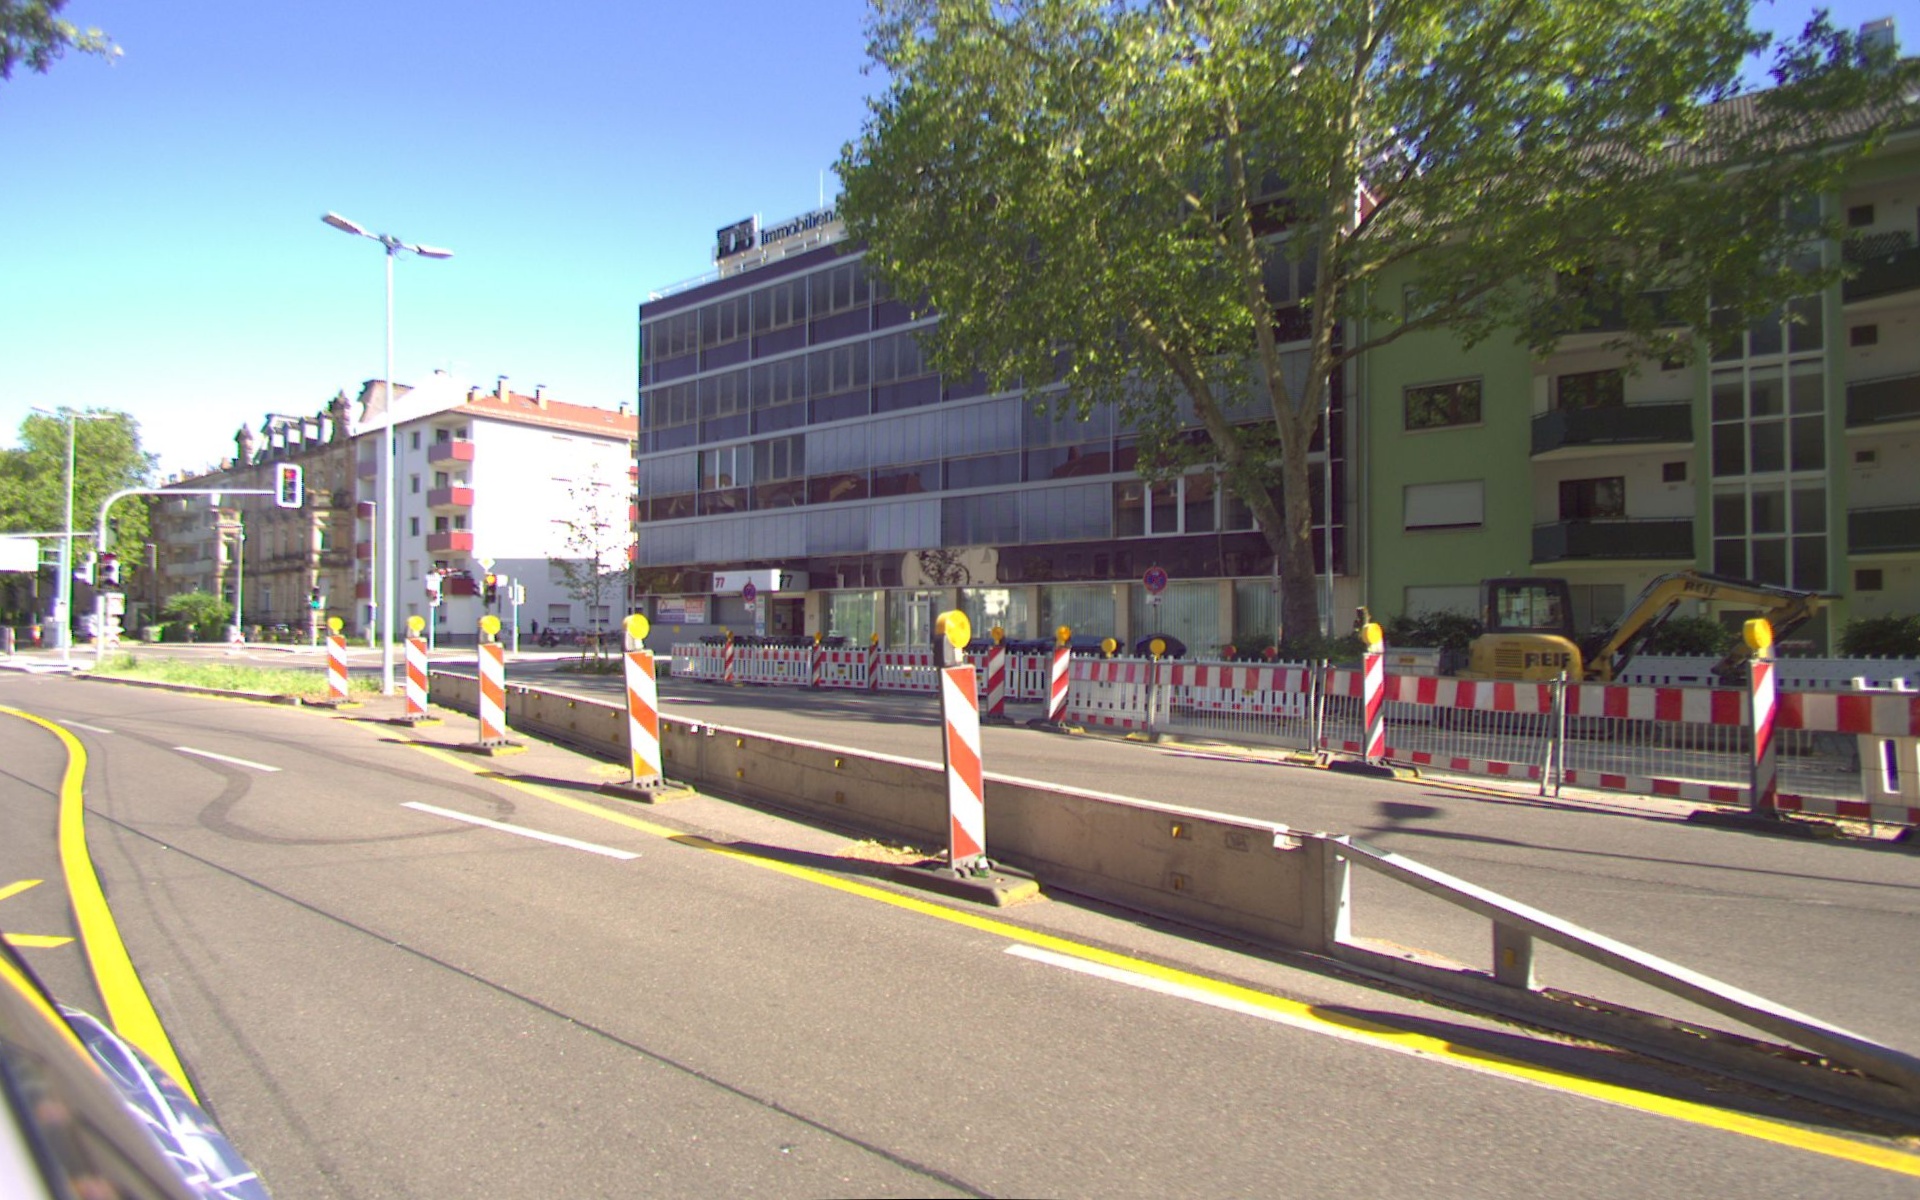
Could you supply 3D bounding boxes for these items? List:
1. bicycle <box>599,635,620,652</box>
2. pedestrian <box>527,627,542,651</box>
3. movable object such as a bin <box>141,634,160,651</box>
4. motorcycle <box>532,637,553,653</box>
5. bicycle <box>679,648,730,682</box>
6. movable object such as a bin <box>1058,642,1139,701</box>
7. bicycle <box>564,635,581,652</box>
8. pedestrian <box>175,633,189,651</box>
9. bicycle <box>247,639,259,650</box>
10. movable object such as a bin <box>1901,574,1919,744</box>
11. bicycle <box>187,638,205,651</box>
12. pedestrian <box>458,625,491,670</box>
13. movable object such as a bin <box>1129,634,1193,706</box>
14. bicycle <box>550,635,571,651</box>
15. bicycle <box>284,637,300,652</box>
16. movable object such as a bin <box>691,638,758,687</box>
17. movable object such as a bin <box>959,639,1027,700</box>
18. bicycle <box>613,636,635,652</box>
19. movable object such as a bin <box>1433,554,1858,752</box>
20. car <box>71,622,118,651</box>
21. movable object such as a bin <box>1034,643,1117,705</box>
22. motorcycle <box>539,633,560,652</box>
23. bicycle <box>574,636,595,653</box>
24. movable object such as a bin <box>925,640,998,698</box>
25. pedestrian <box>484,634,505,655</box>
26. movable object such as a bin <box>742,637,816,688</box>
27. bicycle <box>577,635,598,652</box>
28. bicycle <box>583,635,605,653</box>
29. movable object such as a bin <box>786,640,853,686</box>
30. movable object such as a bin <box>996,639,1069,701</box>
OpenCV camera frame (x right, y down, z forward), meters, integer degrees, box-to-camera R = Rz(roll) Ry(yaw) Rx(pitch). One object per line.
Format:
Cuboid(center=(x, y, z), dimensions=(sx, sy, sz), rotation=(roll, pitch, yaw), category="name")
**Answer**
Cuboid(center=(-21.731, 2.702, 62.750), dimensions=(1.736, 1.011, 0.503), rotation=(-2, -2, 43), category="bicycle")
Cuboid(center=(-26.721, 2.426, 63.570), dimensions=(0.694, 1.508, 0.593), rotation=(-2, -2, 41), category="pedestrian")
Cuboid(center=(-68.435, 3.620, 85.539), dimensions=(1.472, 1.371, 0.884), rotation=(-4, -5, 39), category="movable object such as a bin")
Cuboid(center=(-24.647, 2.639, 59.758), dimensions=(0.497, 0.943, 1.843), rotation=(1, -2, -45), category="motorcycle")
Cuboid(center=(-8.357, 2.104, 33.107), dimensions=(1.877, 1.045, 0.620), rotation=(-2, -2, 39), category="bicycle")
Cuboid(center=(3.151, 1.600, 23.012), dimensions=(1.538, 1.280, 0.970), rotation=(-2, -2, 38), category="movable object such as a bin")
Cuboid(center=(-23.239, 2.610, 60.720), dimensions=(0.500, 0.985, 1.889), rotation=(1, -2, -36), category="bicycle")
Cuboid(center=(-61.049, 3.306, 79.400), dimensions=(1.088, 1.388, 0.561), rotation=(-1, -3, 36), category="pedestrian")
Cuboid(center=(-50.734, 3.188, 72.644), dimensions=(1.412, 0.777, 0.296), rotation=(-2, -3, 39), category="bicycle")
Cuboid(center=(15.708, 0.781, 12.674), dimensions=(5.595, 2.296, 1.973), rotation=(-1, -3, 41), category="movable object such as a bin")
Cuboid(center=(-60.412, 3.527, 80.014), dimensions=(2.246, 1.013, 0.463), rotation=(-3, -1, 36), category="bicycle")
Cuboid(center=(-18.728, 1.832, 39.069), dimensions=(0.855, 1.724, 1.013), rotation=(2, -3, -45), category="pedestrian")
Cuboid(center=(4.275, 1.458, 21.498), dimensions=(1.250, 1.433, 1.629), rotation=(-1, -2, 12), category="movable object such as a bin")
Cuboid(center=(-24.932, 2.690, 63.138), dimensions=(1.736, 0.976, 0.568), rotation=(-2, -2, 43), category="bicycle")
Cuboid(center=(-44.938, 2.993, 68.059), dimensions=(1.937, 0.965, 0.301), rotation=(-2, -3, 39), category="bicycle")
Cuboid(center=(-7.120, 1.860, 30.568), dimensions=(1.854, 1.399, 1.103), rotation=(-2, -2, 40), category="movable object such as a bin")
Cuboid(center=(0.788, 1.610, 23.770), dimensions=(0.935, 1.348, 1.396), rotation=(-2, -2, 40), category="movable object such as a bin")
Cuboid(center=(-20.970, 2.726, 63.199), dimensions=(1.722, 0.955, 0.454), rotation=(-2, -2, 40), category="bicycle")
Cuboid(center=(10.792, 0.798, 16.410), dimensions=(5.342, 2.727, 2.128), rotation=(-1, -2, 35), category="movable object such as a bin")
Cuboid(center=(-79.474, 3.357, 92.918), dimensions=(5.280, 2.465, 2.222), rotation=(-3, -5, 39), category="car")
Cuboid(center=(2.535, 1.603, 22.215), dimensions=(1.538, 1.280, 0.970), rotation=(-2, -2, 38), category="movable object such as a bin")
Cuboid(center=(-24.902, 2.569, 61.336), dimensions=(0.604, 1.150, 1.785), rotation=(1, -2, -43), category="motorcycle")
Cuboid(center=(-22.580, 2.669, 60.908), dimensions=(0.471, 0.955, 1.953), rotation=(1, -2, -43), category="bicycle")
Cuboid(center=(0.052, 1.649, 24.592), dimensions=(1.156, 1.348, 1.396), rotation=(-2, -2, 40), category="movable object such as a bin")
Cuboid(center=(-26.448, 2.506, 57.499), dimensions=(0.784, 1.162, 0.713), rotation=(-1, -2, 26), category="pedestrian")
Cuboid(center=(-5.231, 1.777, 29.201), dimensions=(1.854, 1.399, 1.202), rotation=(-2, -2, 40), category="movable object such as a bin")
Cuboid(center=(-23.793, 2.770, 64.601), dimensions=(1.690, 1.066, 0.568), rotation=(-2, -2, 43), category="bicycle")
Cuboid(center=(-22.375, 2.677, 61.906), dimensions=(1.735, 1.077, 0.483), rotation=(-2, -2, 41), category="bicycle")
Cuboid(center=(-3.891, 1.718, 28.097), dimensions=(1.240, 1.212, 1.380), rotation=(-2, -2, 41), category="movable object such as a bin")
Cuboid(center=(1.667, 1.573, 23.222), dimensions=(1.068, 1.348, 1.396), rotation=(-2, -2, 39), category="movable object such as a bin")
